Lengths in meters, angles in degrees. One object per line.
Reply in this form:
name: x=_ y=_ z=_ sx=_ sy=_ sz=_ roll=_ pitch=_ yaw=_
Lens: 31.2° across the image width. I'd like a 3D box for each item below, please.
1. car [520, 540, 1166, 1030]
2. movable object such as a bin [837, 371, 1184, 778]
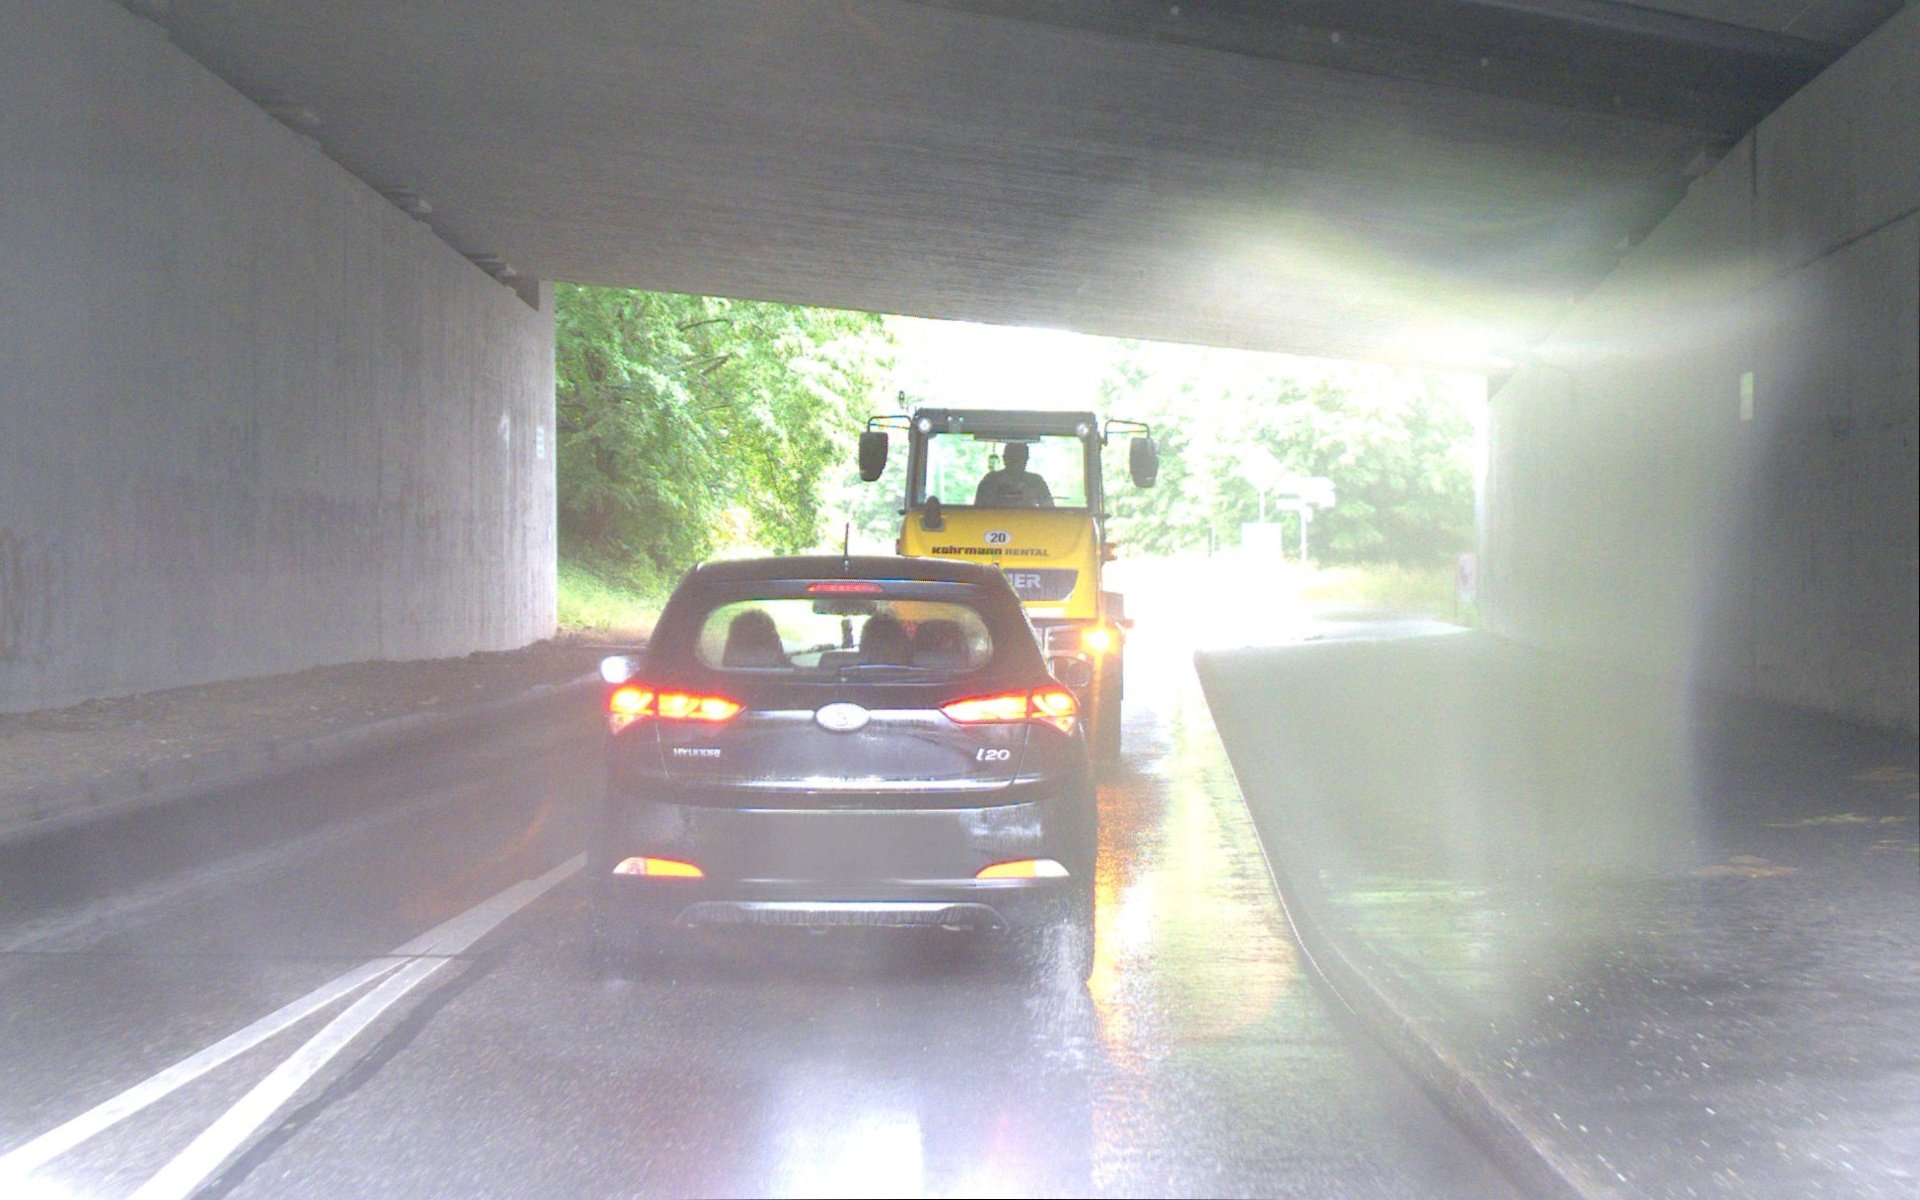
car: x=-0.375 y=0.555 z=12.868 sx=1.993 sy=1.482 sz=4.000 roll=2 pitch=1 yaw=0
movable object such as a bin: x=0.330 y=-0.222 z=26.386 sx=2.245 sy=2.660 sz=6.627 roll=2 pitch=1 yaw=0
